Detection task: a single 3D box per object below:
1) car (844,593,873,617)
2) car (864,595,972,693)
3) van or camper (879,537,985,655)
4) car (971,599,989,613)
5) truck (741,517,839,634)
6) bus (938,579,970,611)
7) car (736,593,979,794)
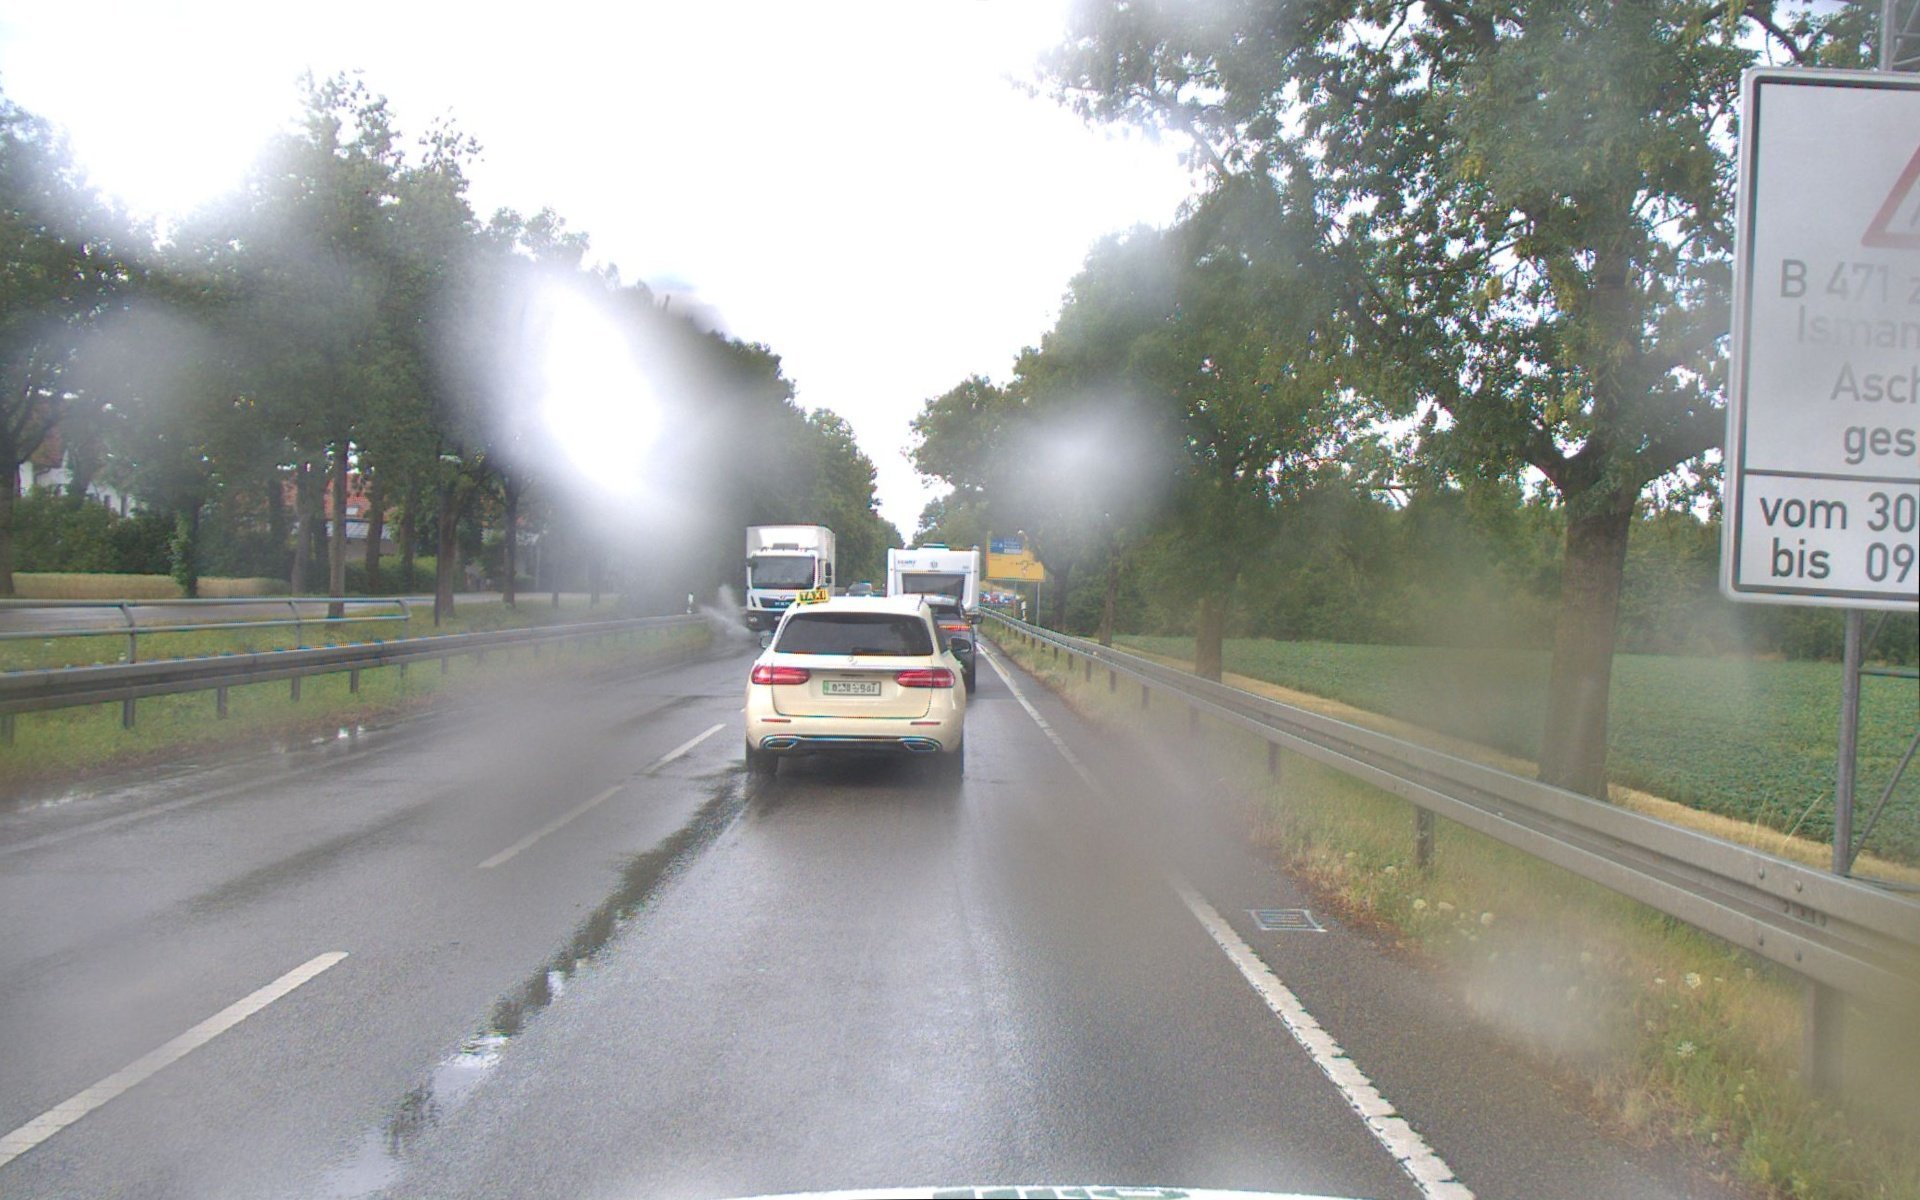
[{"bbox_3d":[-6.433,0.293,105.121,1.679,1.476,4.110,1,0,-1],"label":"car"},{"bbox_3d":[-0.630,0.666,27.145,1.630,1.456,4.000,1,0,0],"label":"car"},{"bbox_3d":[-0.652,-0.101,42.061,2.438,2.732,5.700,1,0,0],"label":"van or camper"},{"bbox_3d":[1.692,0.532,140.138,1.520,1.138,4.000,1,0,0],"label":"car"},{"bbox_3d":[-5.482,-0.758,54.688,2.524,3.512,9.552,0,0,-2],"label":"truck"},{"bbox_3d":[-0.395,-0.332,106.877,1.953,2.049,3.999,0,0,-1],"label":"bus"},{"bbox_3d":[-0.766,0.699,14.543,1.826,1.502,4.000,1,0,0],"label":"car"}]
